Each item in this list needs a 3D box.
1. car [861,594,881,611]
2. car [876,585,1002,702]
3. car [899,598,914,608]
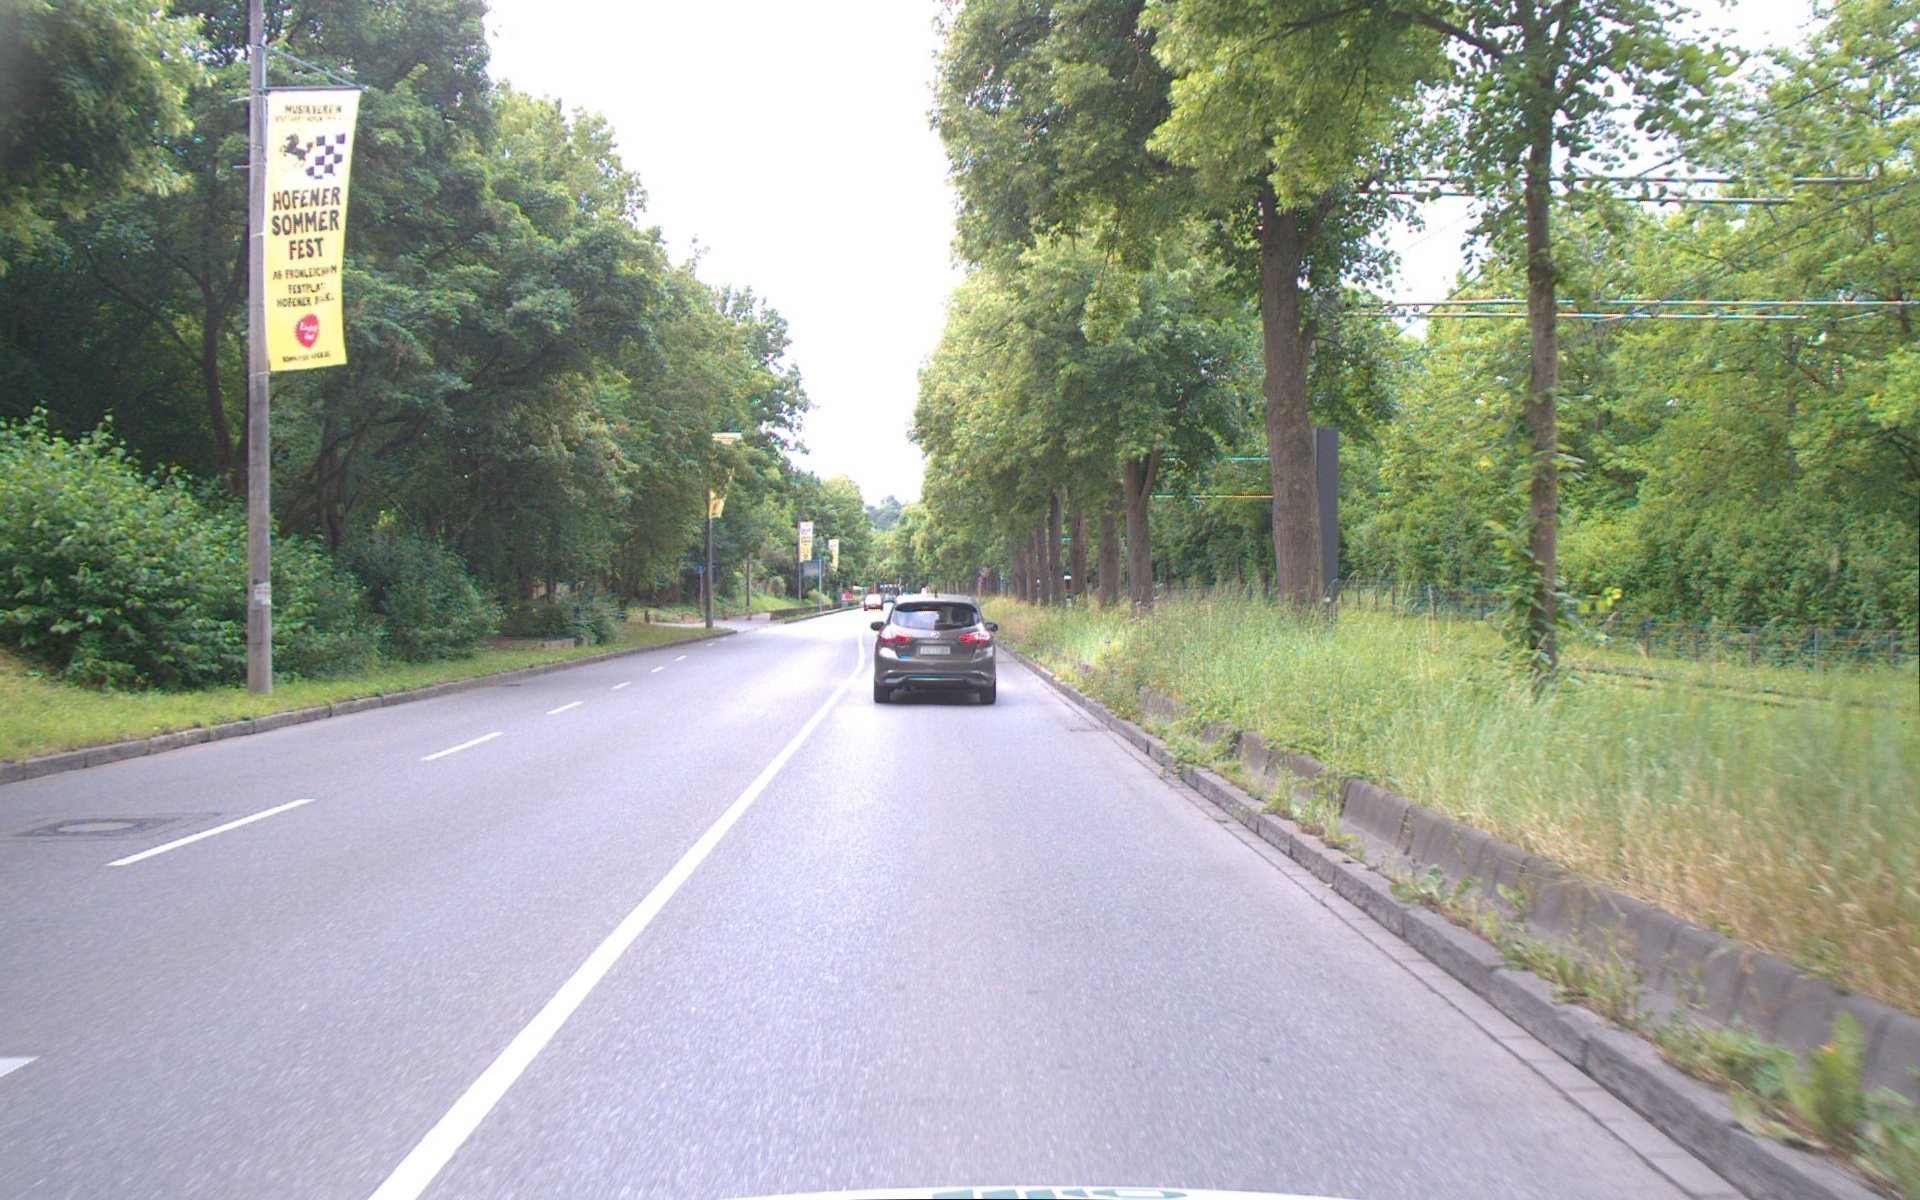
[{"bbox_3d":[-8.005,0.198,149.133,1.682,1.453,4.194,-2,0,-3],"label":"car"},{"bbox_3d":[-0.341,0.594,24.400,1.695,1.564,3.550,1,0,-2],"label":"car"},{"bbox_3d":[-7.684,0.418,238.123,1.535,1.466,3.539,1,0,-14],"label":"car"}]
